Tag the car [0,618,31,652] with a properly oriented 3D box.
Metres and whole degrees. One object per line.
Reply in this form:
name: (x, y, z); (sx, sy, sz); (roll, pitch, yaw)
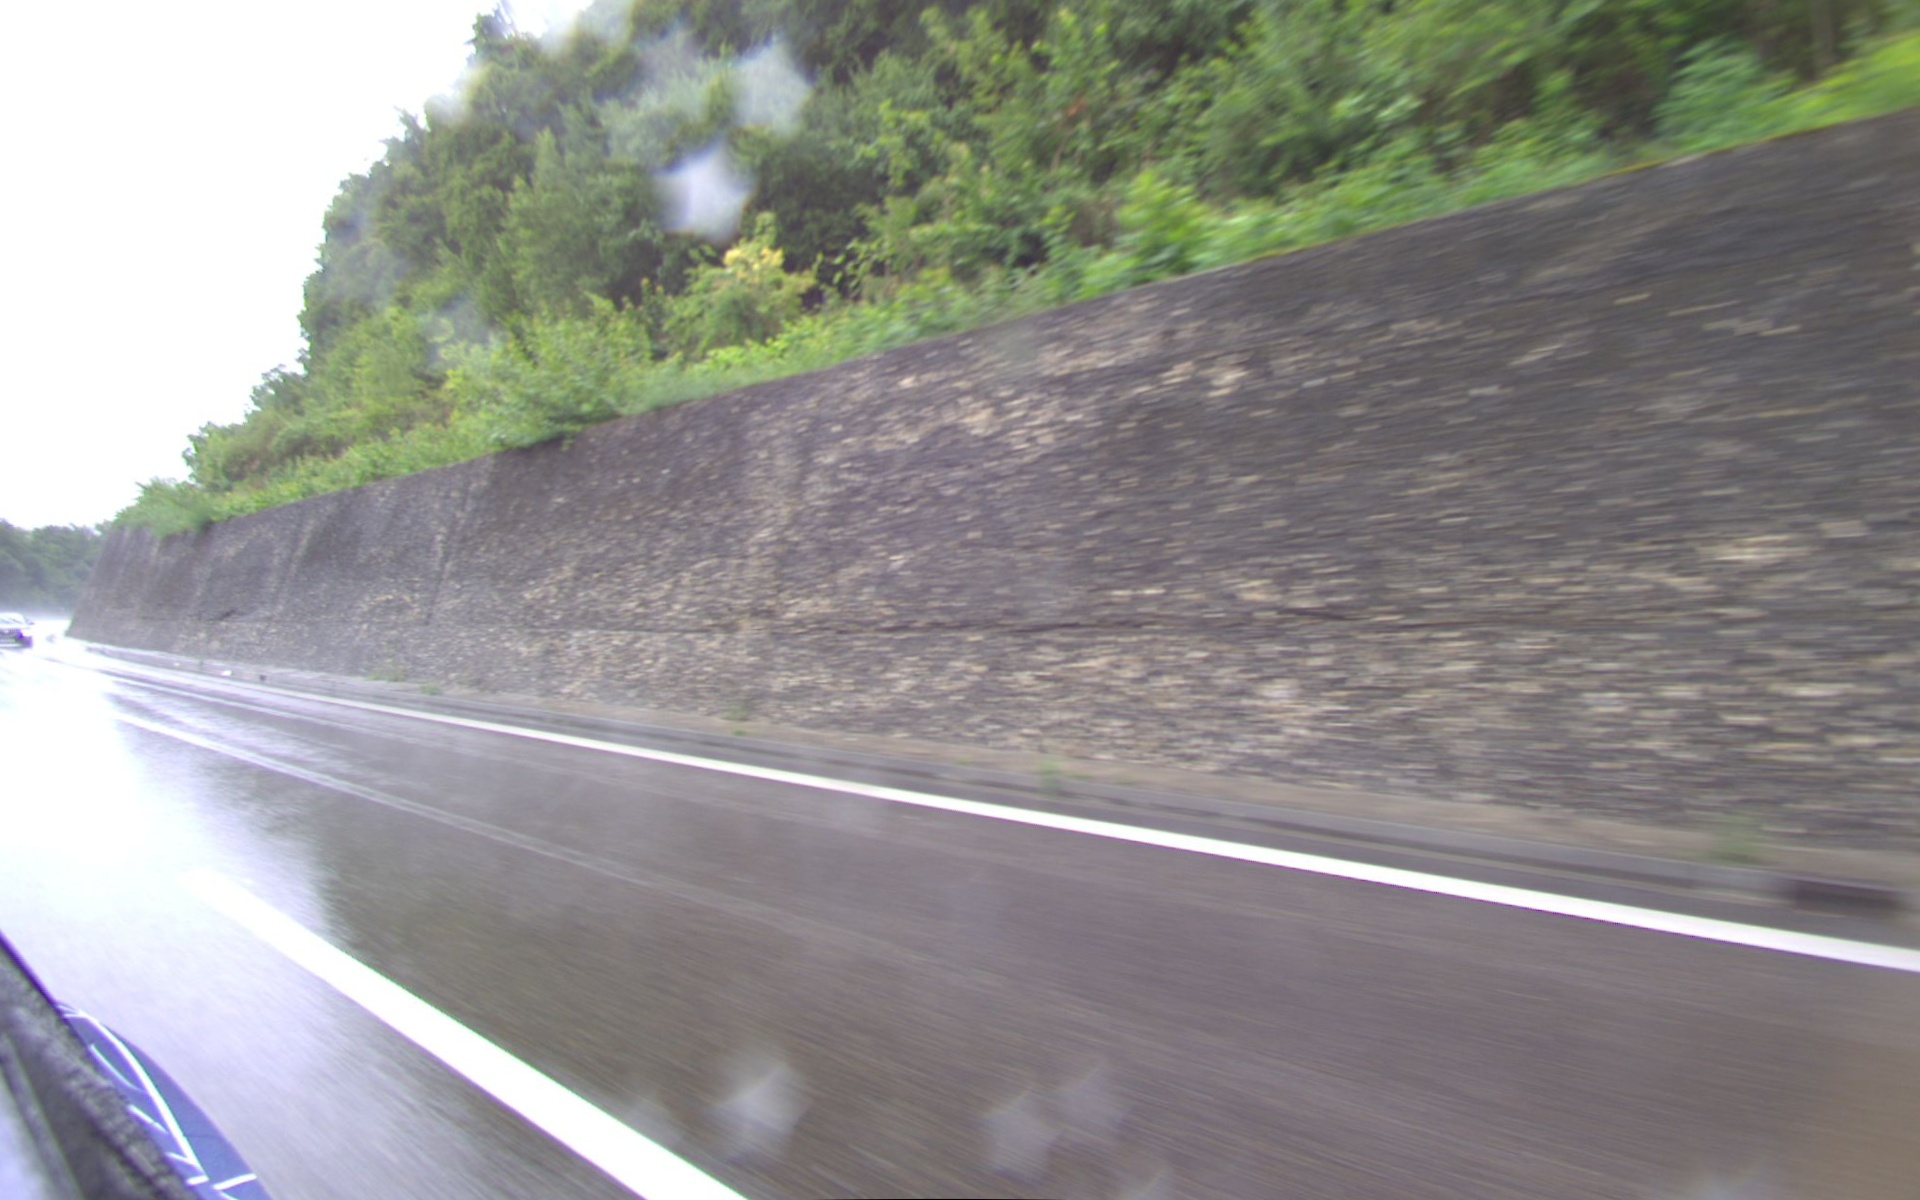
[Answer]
car: (-41.840, 1.520, 44.211); (1.801, 1.393, 4.004); (-1, 0, -43)
